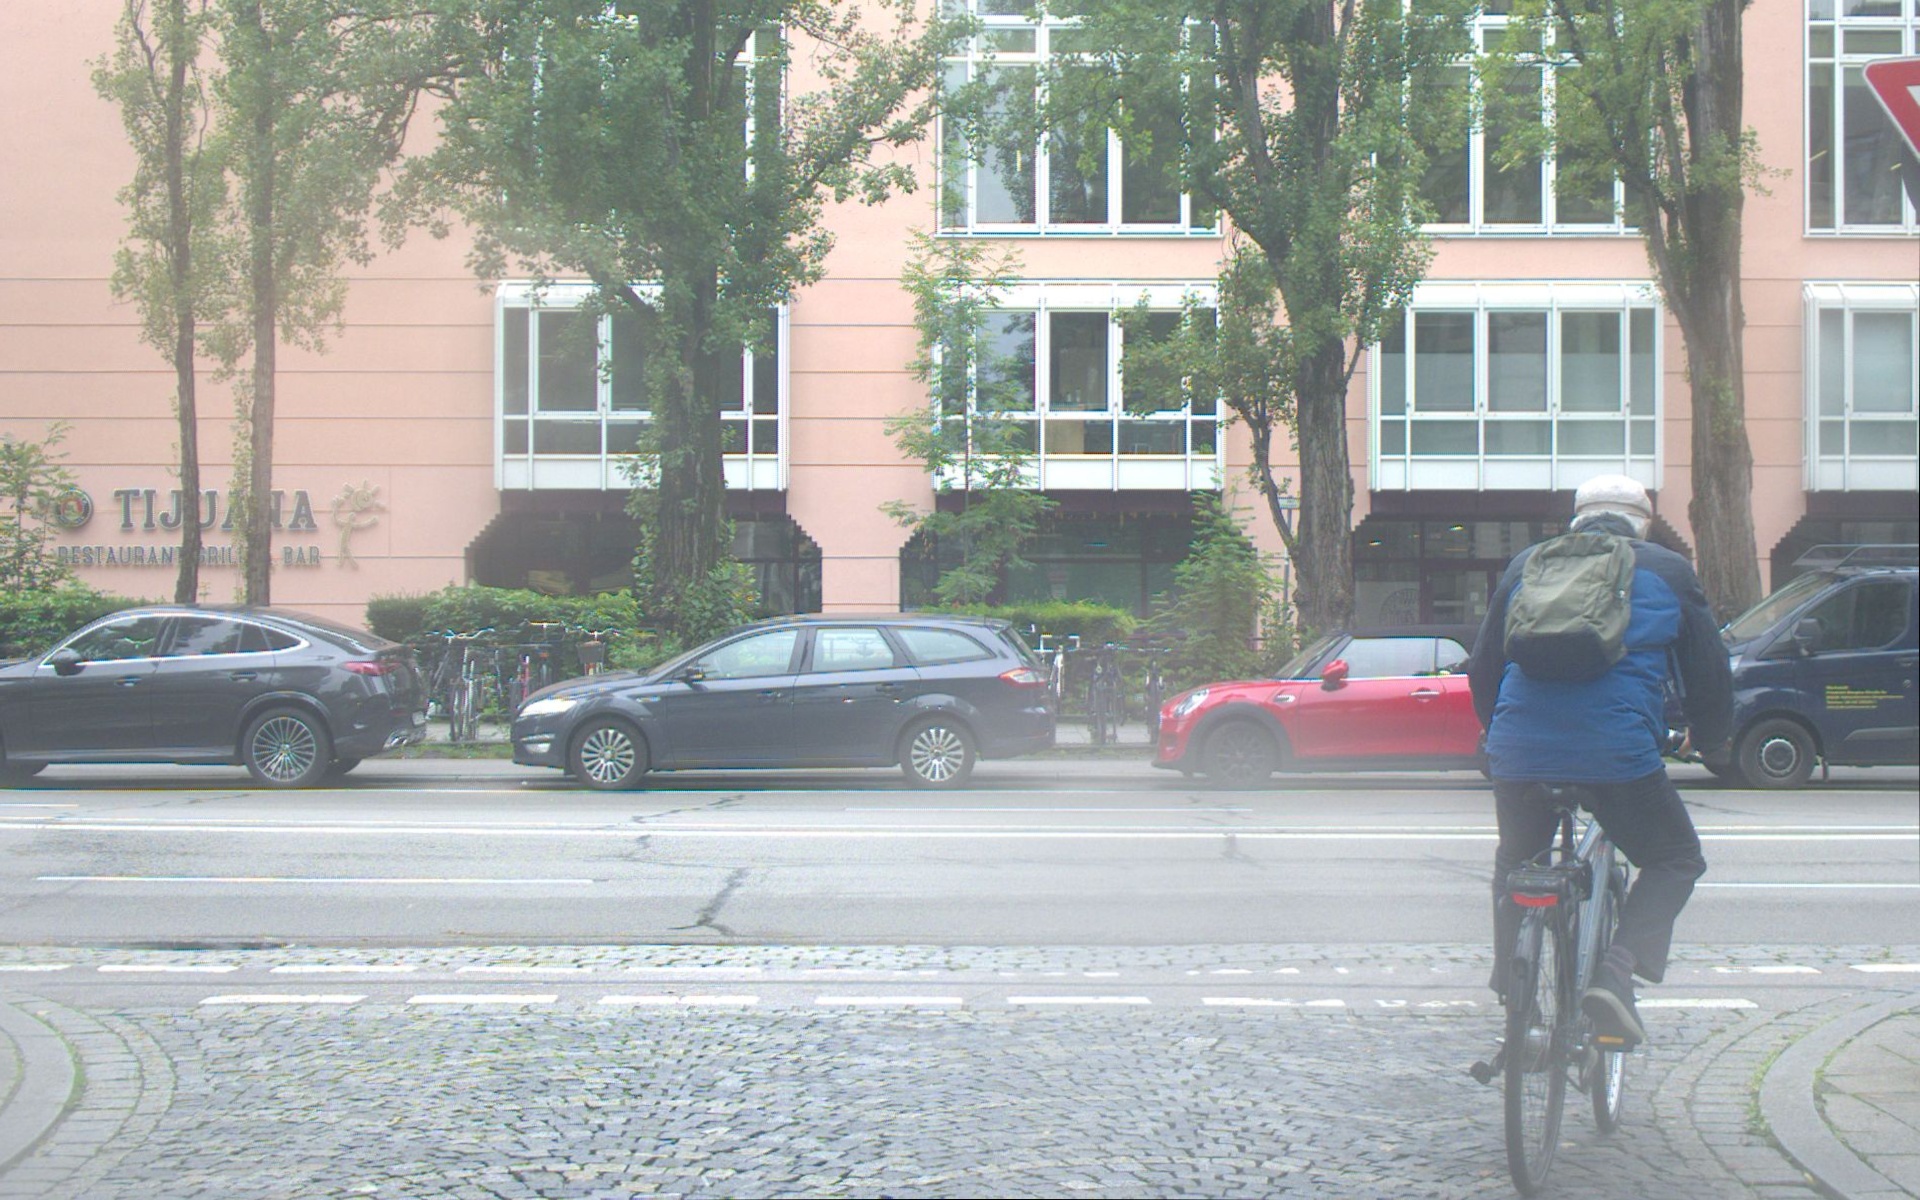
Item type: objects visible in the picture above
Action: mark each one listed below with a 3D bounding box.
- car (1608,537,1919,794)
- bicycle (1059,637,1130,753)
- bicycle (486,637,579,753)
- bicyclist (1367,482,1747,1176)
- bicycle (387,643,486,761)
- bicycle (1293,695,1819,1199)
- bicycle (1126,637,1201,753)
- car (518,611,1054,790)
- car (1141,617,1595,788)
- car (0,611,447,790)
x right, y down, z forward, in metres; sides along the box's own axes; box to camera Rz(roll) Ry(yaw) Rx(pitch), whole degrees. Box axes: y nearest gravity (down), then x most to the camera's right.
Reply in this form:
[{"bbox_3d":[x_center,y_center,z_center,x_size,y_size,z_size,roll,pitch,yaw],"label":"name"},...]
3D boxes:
[{"bbox_3d":[8.662,0.563,30.398,5.479,2.190,2.024,0,0,0],"label":"car"},{"bbox_3d":[1.347,0.941,34.701,0.674,1.120,1.742,0,0,1],"label":"bicycle"},{"bbox_3d":[-4.325,0.943,34.890,0.674,1.120,1.989,0,0,1],"label":"bicycle"},{"bbox_3d":[1.487,0.531,8.505,0.723,1.614,0.755,0,0,28],"label":"bicyclist"},{"bbox_3d":[-5.260,1.010,34.632,0.674,1.120,1.989,0,0,1],"label":"bicycle"},{"bbox_3d":[1.537,0.828,8.574,0.718,1.144,1.897,0,-1,29],"label":"bicycle"},{"bbox_3d":[2.044,0.944,34.705,0.674,1.120,1.742,0,0,1],"label":"bicycle"},{"bbox_3d":[-1.495,0.865,30.484,4.608,1.524,1.793,0,0,0],"label":"car"},{"bbox_3d":[3.526,0.881,30.242,3.861,1.444,1.678,0,0,3],"label":"car"},{"bbox_3d":[-6.951,0.868,30.553,4.500,1.524,1.793,0,0,0],"label":"car"}]
